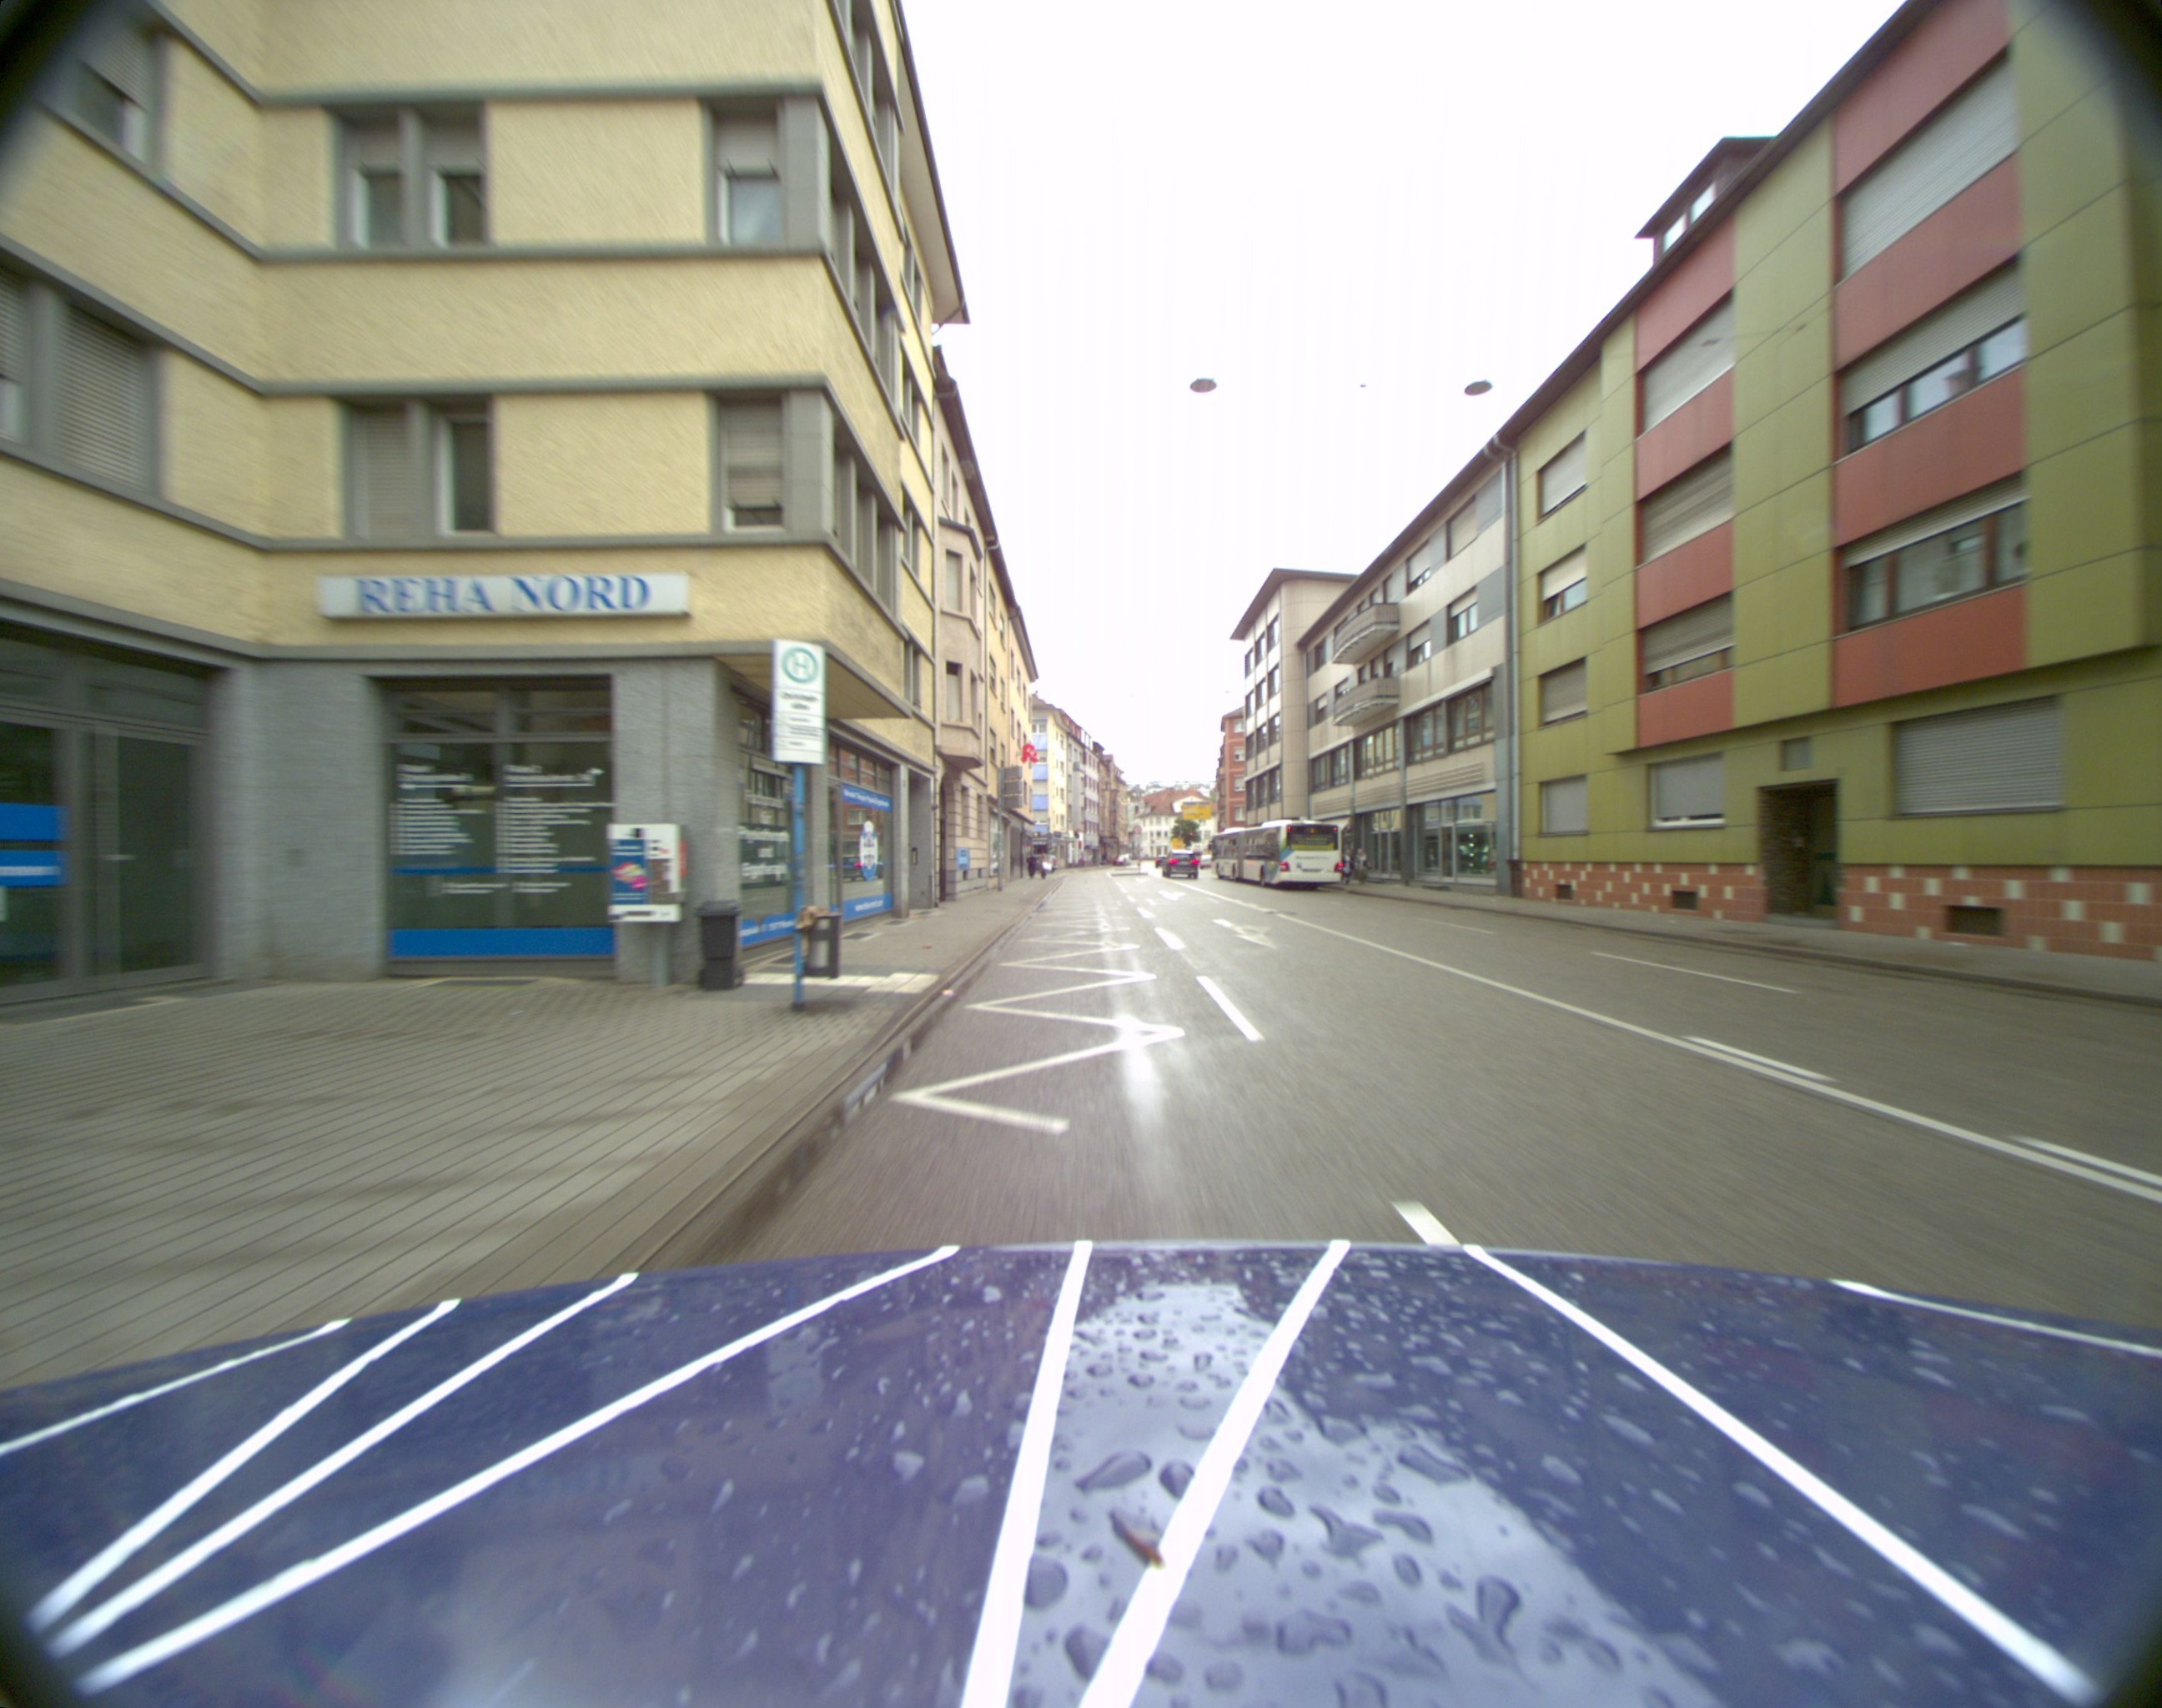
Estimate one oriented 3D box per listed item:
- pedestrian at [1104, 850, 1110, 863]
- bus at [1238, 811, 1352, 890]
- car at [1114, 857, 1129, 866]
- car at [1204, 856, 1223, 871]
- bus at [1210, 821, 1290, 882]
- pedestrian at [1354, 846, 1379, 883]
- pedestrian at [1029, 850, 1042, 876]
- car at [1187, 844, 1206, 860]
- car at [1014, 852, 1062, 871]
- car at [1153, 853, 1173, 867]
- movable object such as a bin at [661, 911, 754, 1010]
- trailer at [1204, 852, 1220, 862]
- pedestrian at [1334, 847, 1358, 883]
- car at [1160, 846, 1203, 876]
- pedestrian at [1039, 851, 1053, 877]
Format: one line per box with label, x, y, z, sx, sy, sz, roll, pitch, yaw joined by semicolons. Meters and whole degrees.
pedestrian;3.776;0.353;109.093;0.745;1.769;0.796;0;1;7
bus;9.517;-0.196;35.047;2.732;3.170;9.292;0;1;1
car;5.813;1.058;108.386;1.747;1.361;4.318;0;0;9
car;14.022;0.991;80.796;1.853;1.389;4.796;-3;0;9
bus;9.592;-0.178;44.174;2.765;3.170;8.911;0;1;1
pedestrian;12.455;0.451;33.189;0.839;1.605;0.711;0;1;0
pedestrian;-2.763;0.565;46.092;0.770;1.551;0.876;0;1;-1
car;18.949;-0.366;125.050;2.091;2.421;6.352;0;1;0
car;-3.660;0.613;64.911;3.833;1.565;1.937;0;1;6
car;8.990;0.625;83.796;1.713;1.443;4.085;0;1;0
movable object such as a bin;-3.868;1.084;7.904;0.601;0.921;0.704;0;1;1
trailer;13.276;0.343;76.882;1.590;0.944;3.059;-1;0;11
pedestrian;11.619;0.479;33.379;0.801;1.526;0.711;0;1;0
car;6.082;0.379;46.469;1.936;1.747;4.572;0;1;-1
pedestrian;-2.124;0.599;46.077;0.780;1.551;0.782;0;1;-1
